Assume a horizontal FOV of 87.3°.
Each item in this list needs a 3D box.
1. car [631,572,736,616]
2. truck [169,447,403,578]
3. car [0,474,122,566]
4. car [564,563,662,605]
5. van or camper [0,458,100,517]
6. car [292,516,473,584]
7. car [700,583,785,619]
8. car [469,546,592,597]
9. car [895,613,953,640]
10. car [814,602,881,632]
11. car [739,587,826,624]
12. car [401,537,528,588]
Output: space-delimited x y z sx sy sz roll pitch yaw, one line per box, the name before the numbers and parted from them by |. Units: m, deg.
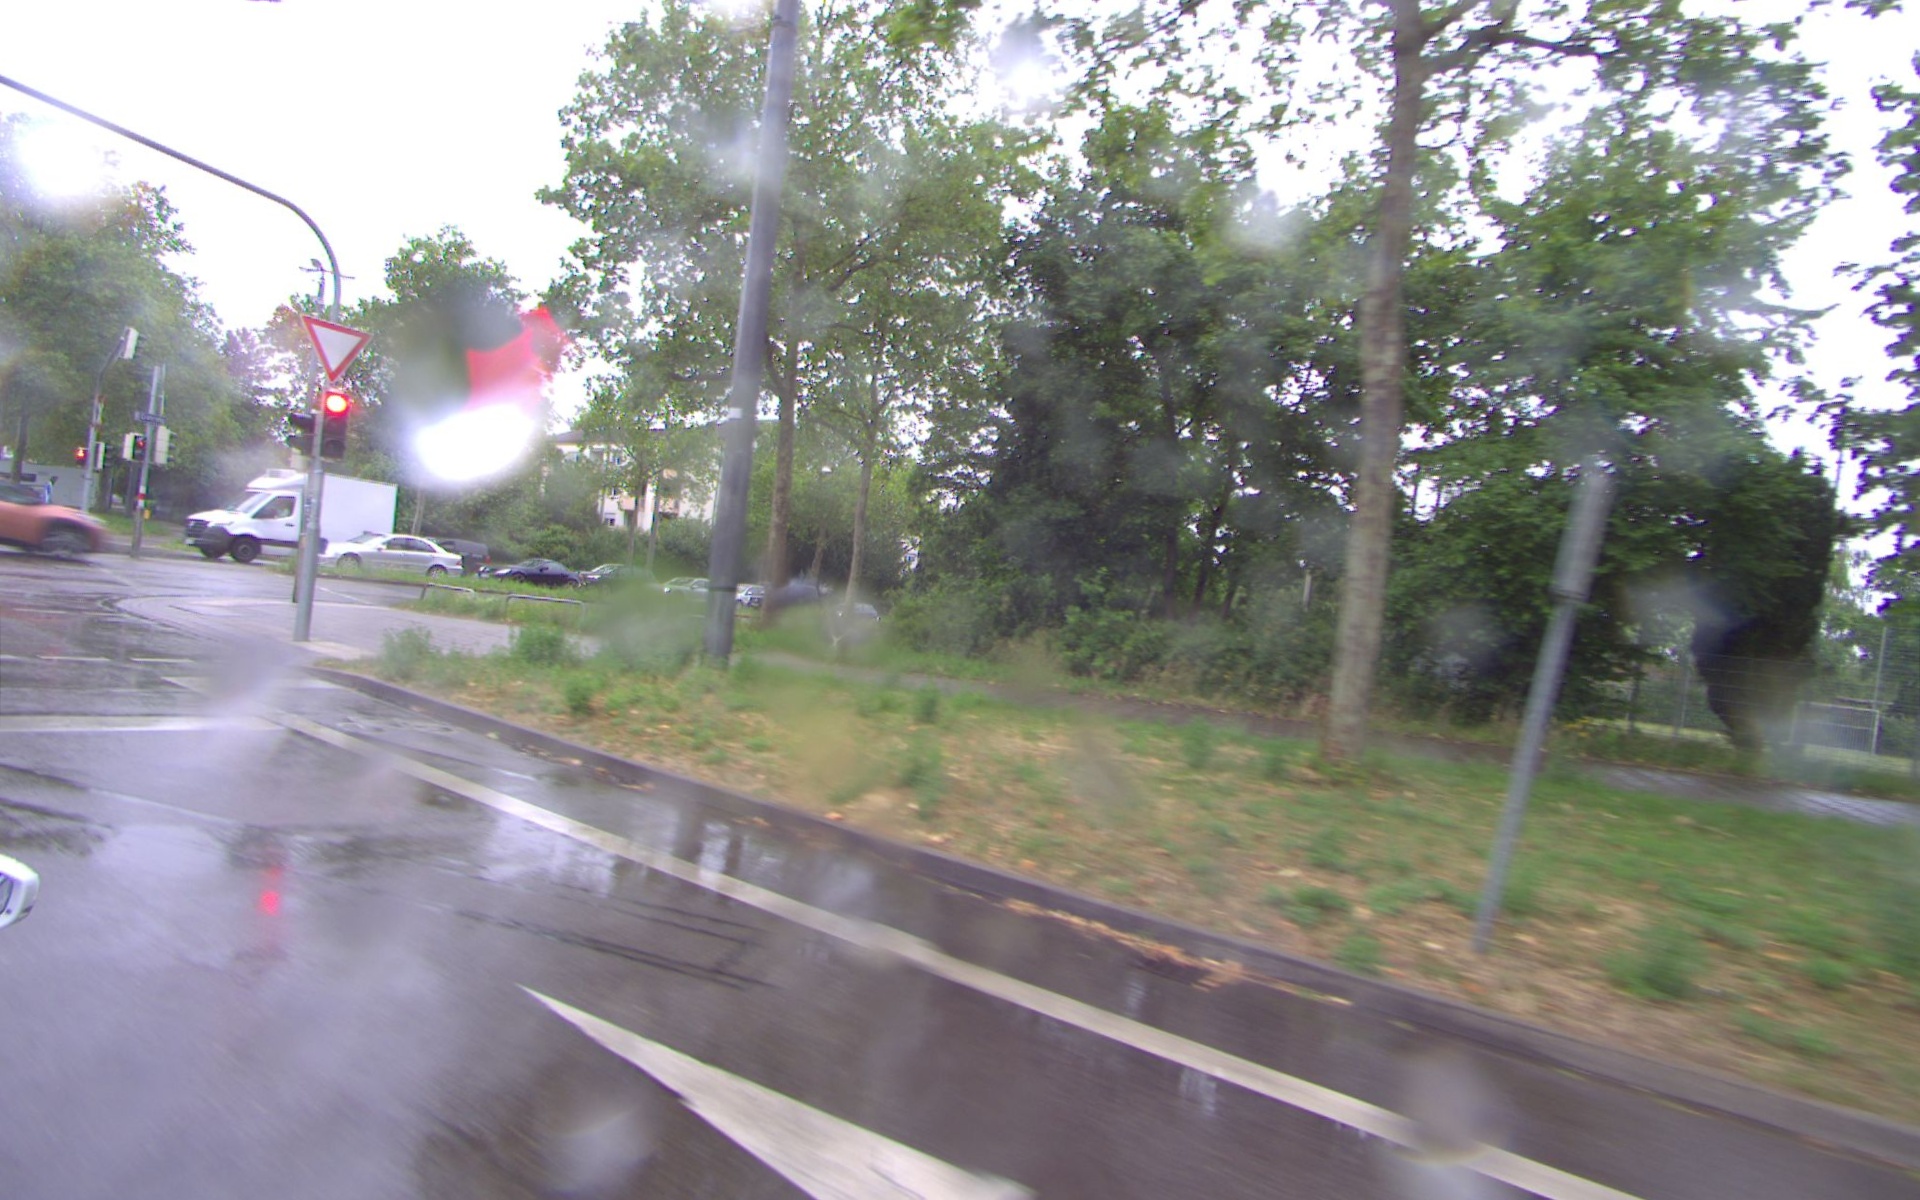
car | -12.569 -0.245 46.047 1.735 1.439 4.671 7 -1 29
truck | -20.608 -2.580 31.091 1.947 3.095 5.479 7 -1 29
car | -18.417 -1.638 18.802 1.623 1.517 3.827 7 0 26
car | -16.135 -0.702 46.955 1.735 1.439 4.129 7 -1 30
van or camper | -57.672 -7.084 63.213 5.204 2.728 2.217 10 -2 -41
car | -17.456 -1.474 30.651 1.616 1.406 4.521 7 -1 29
car | -11.649 0.072 54.265 1.735 1.439 4.671 7 -1 29
car | -16.426 -1.047 38.677 1.616 1.406 4.118 7 -1 29
car | -2.466 1.874 70.107 1.735 1.439 4.671 7 -1 29
car | -7.044 1.078 63.569 1.735 1.439 4.671 7 -1 29
car | -9.097 0.317 51.916 1.735 1.439 4.671 7 -1 29
car | -19.828 -1.466 40.418 1.736 1.439 4.208 7 -1 30
